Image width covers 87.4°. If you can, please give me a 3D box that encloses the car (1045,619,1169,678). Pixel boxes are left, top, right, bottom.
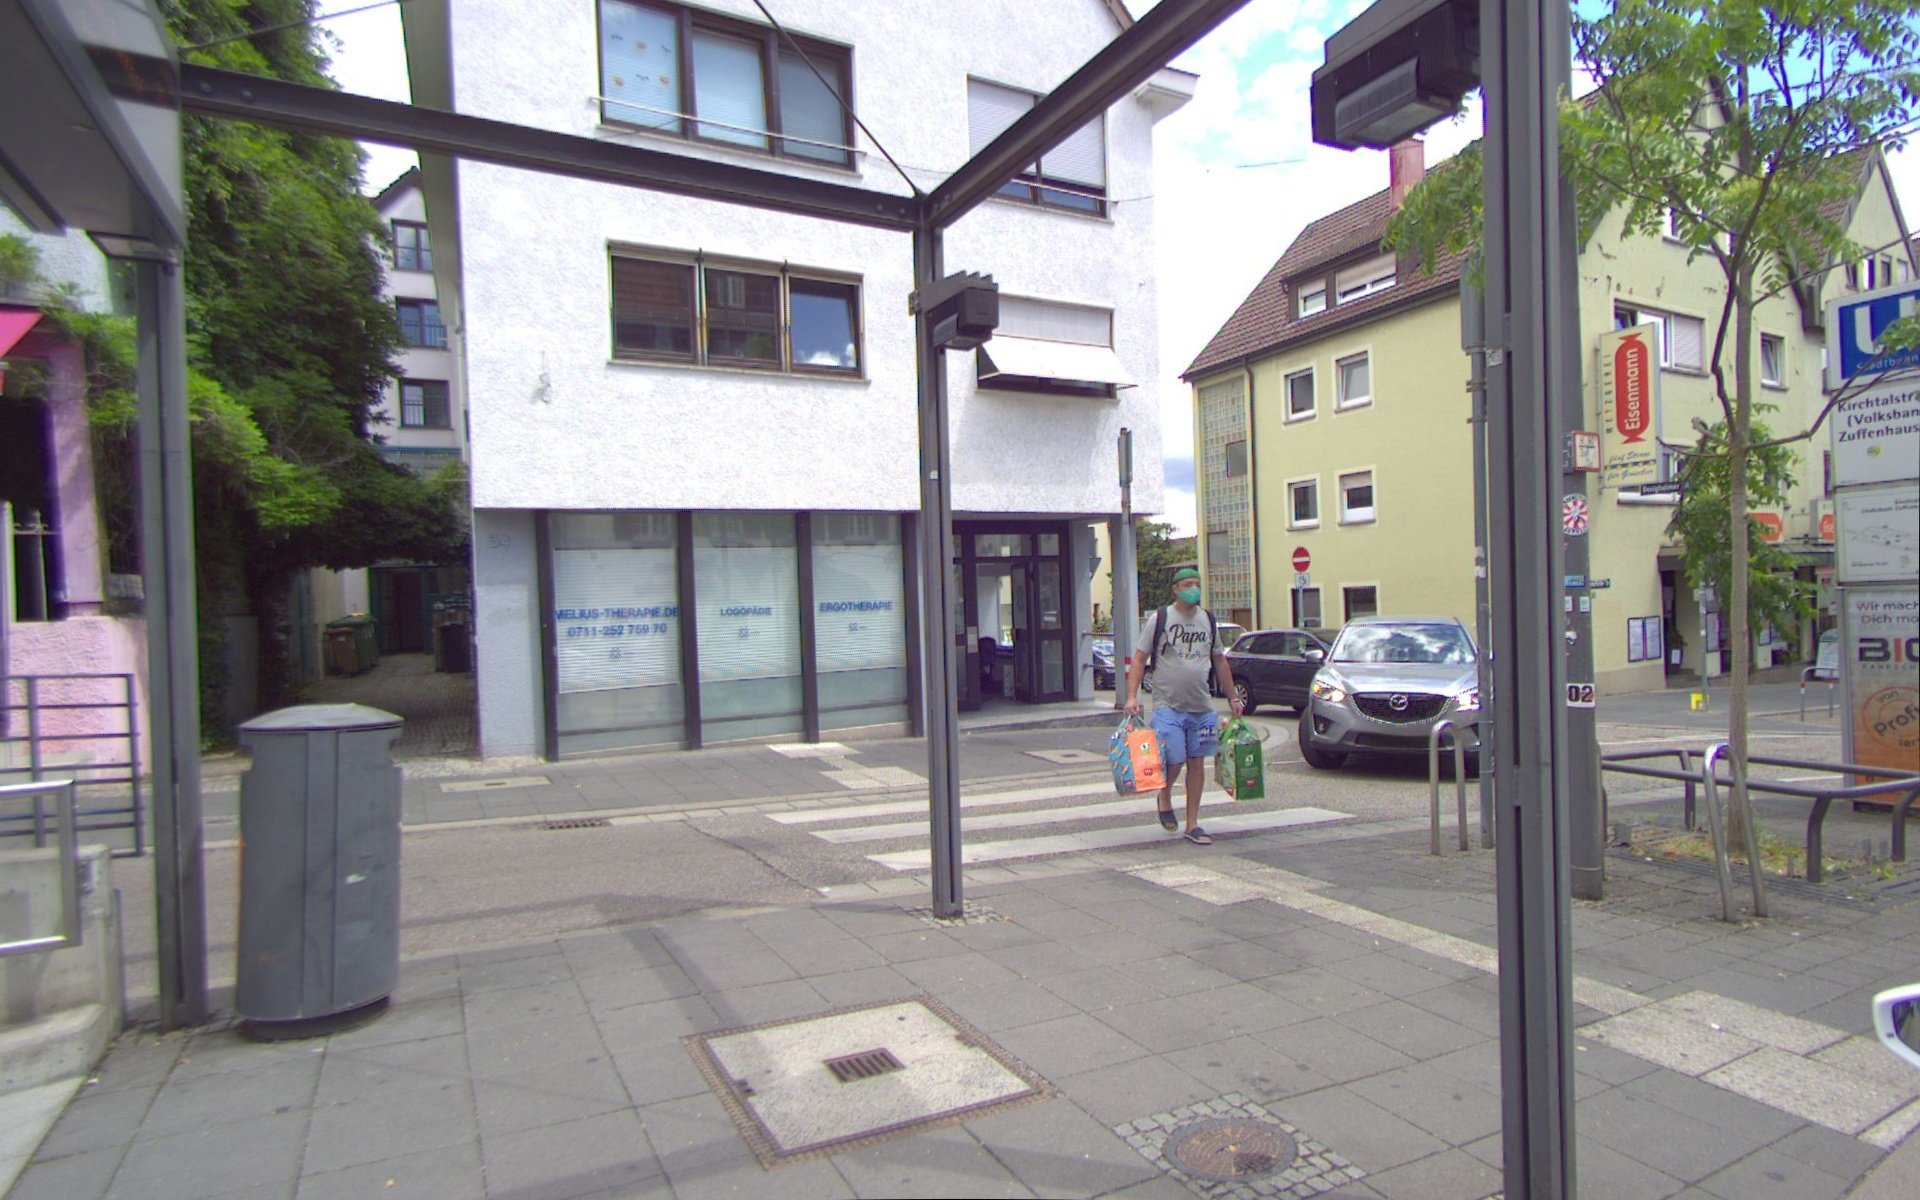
[{"bbox_3d":[4.336,1.421,30.326,1.713,1.650,4.328,1,-2,-24],"label":"car"}]

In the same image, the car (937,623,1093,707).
[{"bbox_3d":[1.193,1.580,24.545,1.842,1.843,4.813,1,-4,-24],"label":"car"}]

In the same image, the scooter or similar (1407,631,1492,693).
[{"bbox_3d":[10.845,1.352,22.312,0.583,1.298,1.584,-3,0,-30],"label":"scooter or similar"}]

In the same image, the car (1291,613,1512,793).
[{"bbox_3d":[5.130,1.011,11.551,1.933,1.642,4.351,-1,-2,26],"label":"car"}]

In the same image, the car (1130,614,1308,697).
[{"bbox_3d":[6.422,1.417,25.443,1.973,1.829,4.327,-2,-2,-26],"label":"car"}]

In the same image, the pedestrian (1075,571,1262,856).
[{"bbox_3d":[1.417,0.738,6.960,0.971,1.811,0.917,1,-1,-15],"label":"pedestrian"}]

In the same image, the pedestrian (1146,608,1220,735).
[{"bbox_3d":[3.208,1.012,14.447,0.827,1.761,0.633,1,-3,-33],"label":"pedestrian"}]

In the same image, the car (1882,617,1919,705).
[{"bbox_3d":[21.043,1.230,20.595,4.555,1.716,1.996,1,1,-32],"label":"car"}]

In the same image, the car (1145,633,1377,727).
[{"bbox_3d":[5.617,1.431,19.347,1.890,1.589,4.345,1,-2,-25],"label":"car"}]
